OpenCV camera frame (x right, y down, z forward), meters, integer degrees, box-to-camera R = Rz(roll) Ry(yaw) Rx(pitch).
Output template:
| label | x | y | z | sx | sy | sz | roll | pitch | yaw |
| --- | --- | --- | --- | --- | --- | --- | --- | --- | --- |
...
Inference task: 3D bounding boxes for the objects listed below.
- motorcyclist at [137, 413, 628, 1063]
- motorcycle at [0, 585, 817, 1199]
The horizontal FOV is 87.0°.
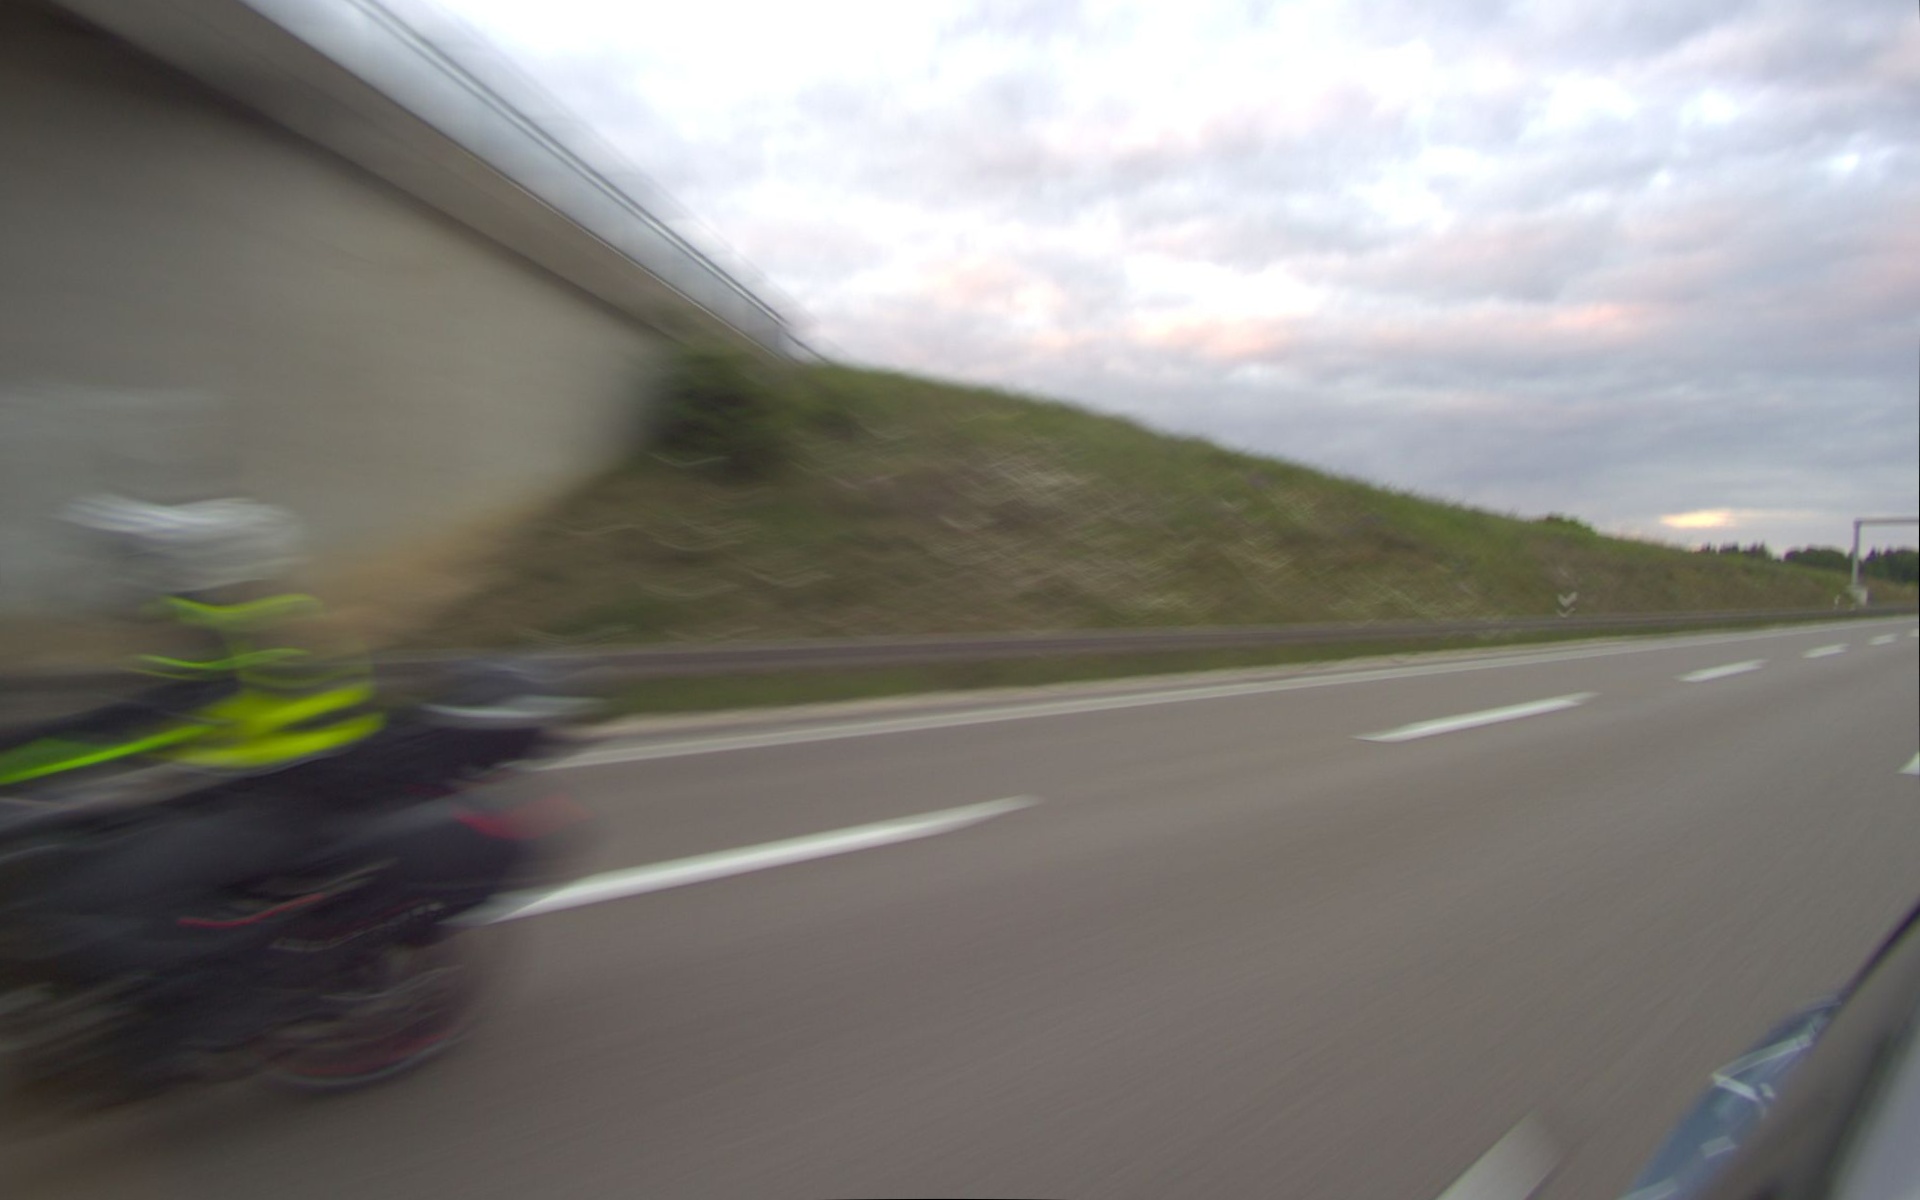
| label | x | y | z | sx | sy | sz | roll | pitch | yaw |
| --- | --- | --- | --- | --- | --- | --- | --- | --- | --- |
| motorcyclist | -1.729 | 0.320 | 3.053 | 1.147 | 1.507 | 0.867 | 1 | -1 | -39 |
| motorcycle | -1.676 | 0.658 | 3.140 | 2.307 | 1.363 | 0.903 | 1 | 0 | -41 |
